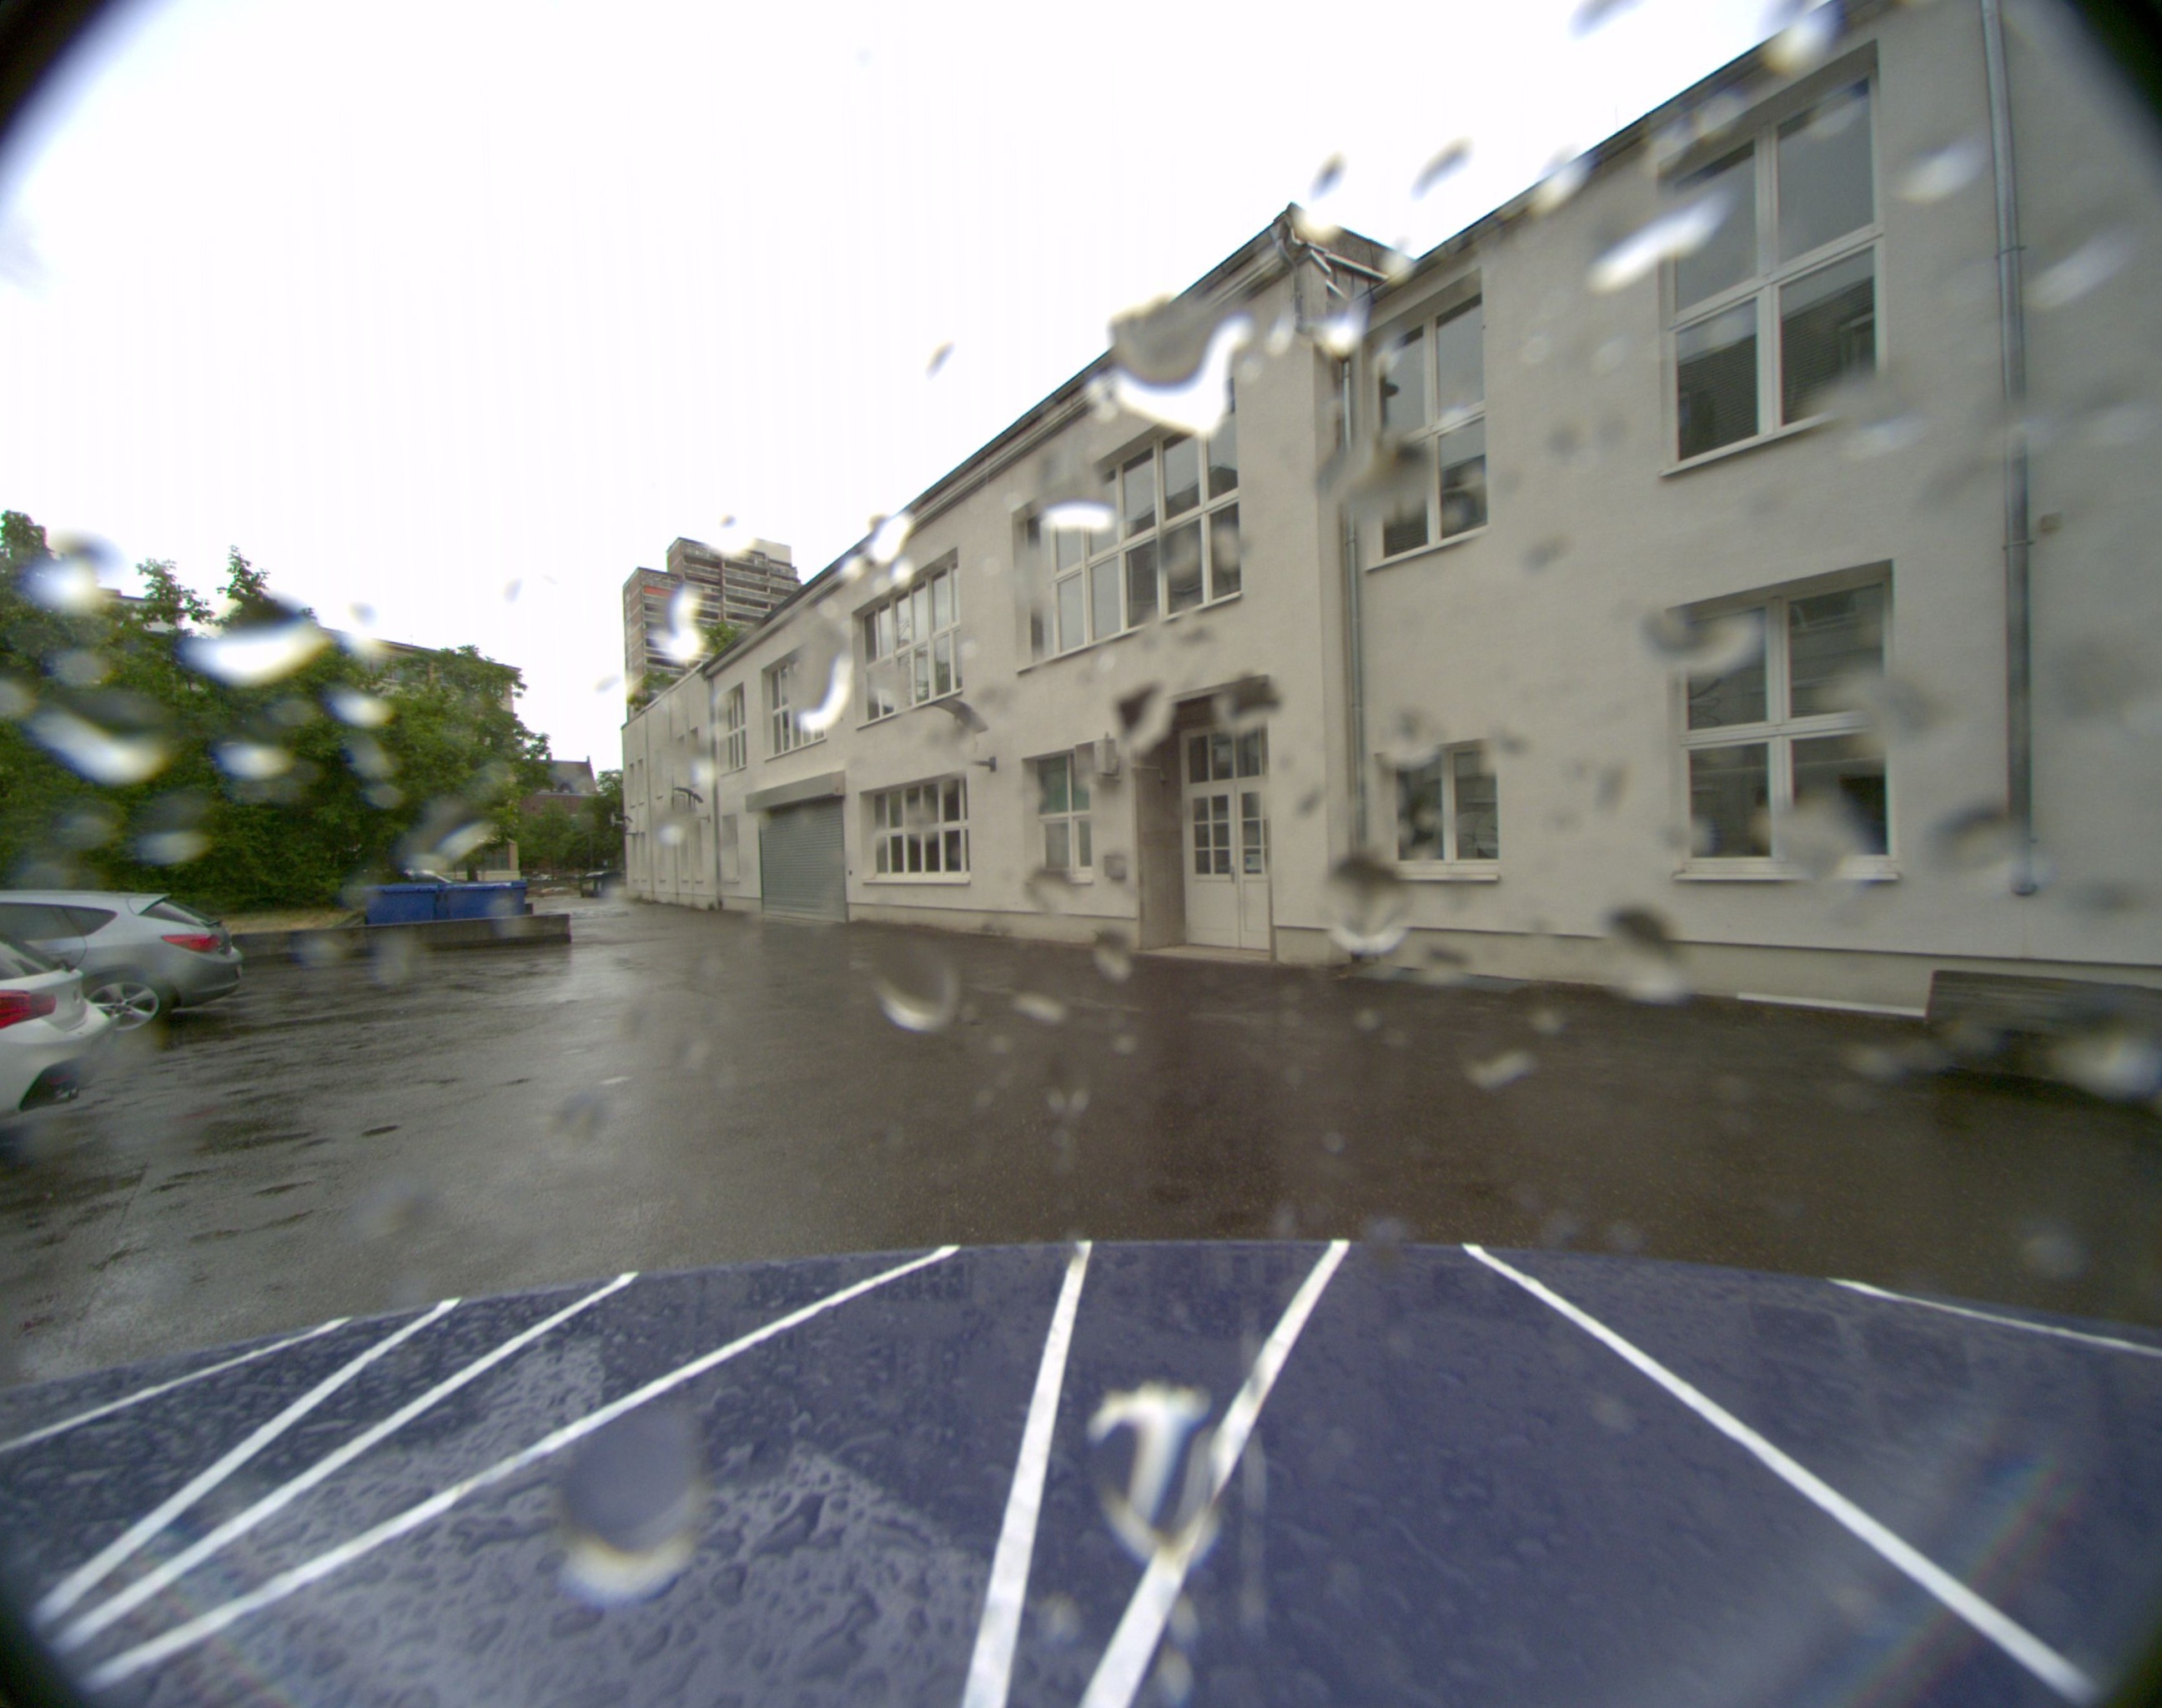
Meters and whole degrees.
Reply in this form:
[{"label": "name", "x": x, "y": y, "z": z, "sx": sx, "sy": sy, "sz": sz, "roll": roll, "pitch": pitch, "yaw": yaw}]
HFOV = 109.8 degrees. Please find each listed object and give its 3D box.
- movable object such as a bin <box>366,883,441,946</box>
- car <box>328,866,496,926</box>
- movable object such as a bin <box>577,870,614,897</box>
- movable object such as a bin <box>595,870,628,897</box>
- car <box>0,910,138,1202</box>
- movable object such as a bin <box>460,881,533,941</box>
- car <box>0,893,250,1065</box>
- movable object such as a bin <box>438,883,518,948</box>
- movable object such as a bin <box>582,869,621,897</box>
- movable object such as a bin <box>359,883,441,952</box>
[{"label": "movable object such as a bin", "x": -16.476, "y": 1.452, "z": 18.520, "sx": 1.236, "sy": 1.350, "sz": 1.966, "roll": -4, "pitch": 0, "yaw": -41}, {"label": "car", "x": -25.972, "y": 1.620, "z": 29.768, "sx": 4.706, "sy": 1.870, "sz": 2.118, "roll": -4, "pitch": -1, "yaw": -39}, {"label": "movable object such as a bin", "x": -28.091, "y": 1.696, "z": 43.957, "sx": 1.310, "sy": 1.440, "sz": 1.495, "roll": -4, "pitch": 0, "yaw": 44}, {"label": "movable object such as a bin", "x": -25.948, "y": 1.631, "z": 41.969, "sx": 1.310, "sy": 1.366, "sz": 1.190, "roll": -4, "pitch": 0, "yaw": 44}, {"label": "car", "x": -7.777, "y": 1.181, "z": 3.389, "sx": 4.229, "sy": 1.481, "sz": 1.995, "roll": -2, "pitch": 0, "yaw": -44}, {"label": "movable object such as a bin", "x": -15.094, "y": 1.455, "z": 19.610, "sx": 1.316, "sy": 1.350, "sz": 1.900, "roll": -4, "pitch": 0, "yaw": -41}, {"label": "car", "x": -11.125, "y": 1.244, "z": 7.205, "sx": 4.229, "sy": 1.481, "sz": 1.995, "roll": -2, "pitch": 0, "yaw": -44}, {"label": "movable object such as a bin", "x": -14.193, "y": 1.420, "z": 17.863, "sx": 1.316, "sy": 1.350, "sz": 1.900, "roll": -4, "pitch": 0, "yaw": -41}, {"label": "movable object such as a bin", "x": -27.142, "y": 1.652, "z": 43.003, "sx": 1.310, "sy": 1.440, "sz": 1.495, "roll": -4, "pitch": 0, "yaw": 44}, {"label": "movable object such as a bin", "x": -15.194, "y": 1.394, "z": 16.992, "sx": 1.236, "sy": 1.350, "sz": 1.966, "roll": -4, "pitch": 0, "yaw": -41}]
